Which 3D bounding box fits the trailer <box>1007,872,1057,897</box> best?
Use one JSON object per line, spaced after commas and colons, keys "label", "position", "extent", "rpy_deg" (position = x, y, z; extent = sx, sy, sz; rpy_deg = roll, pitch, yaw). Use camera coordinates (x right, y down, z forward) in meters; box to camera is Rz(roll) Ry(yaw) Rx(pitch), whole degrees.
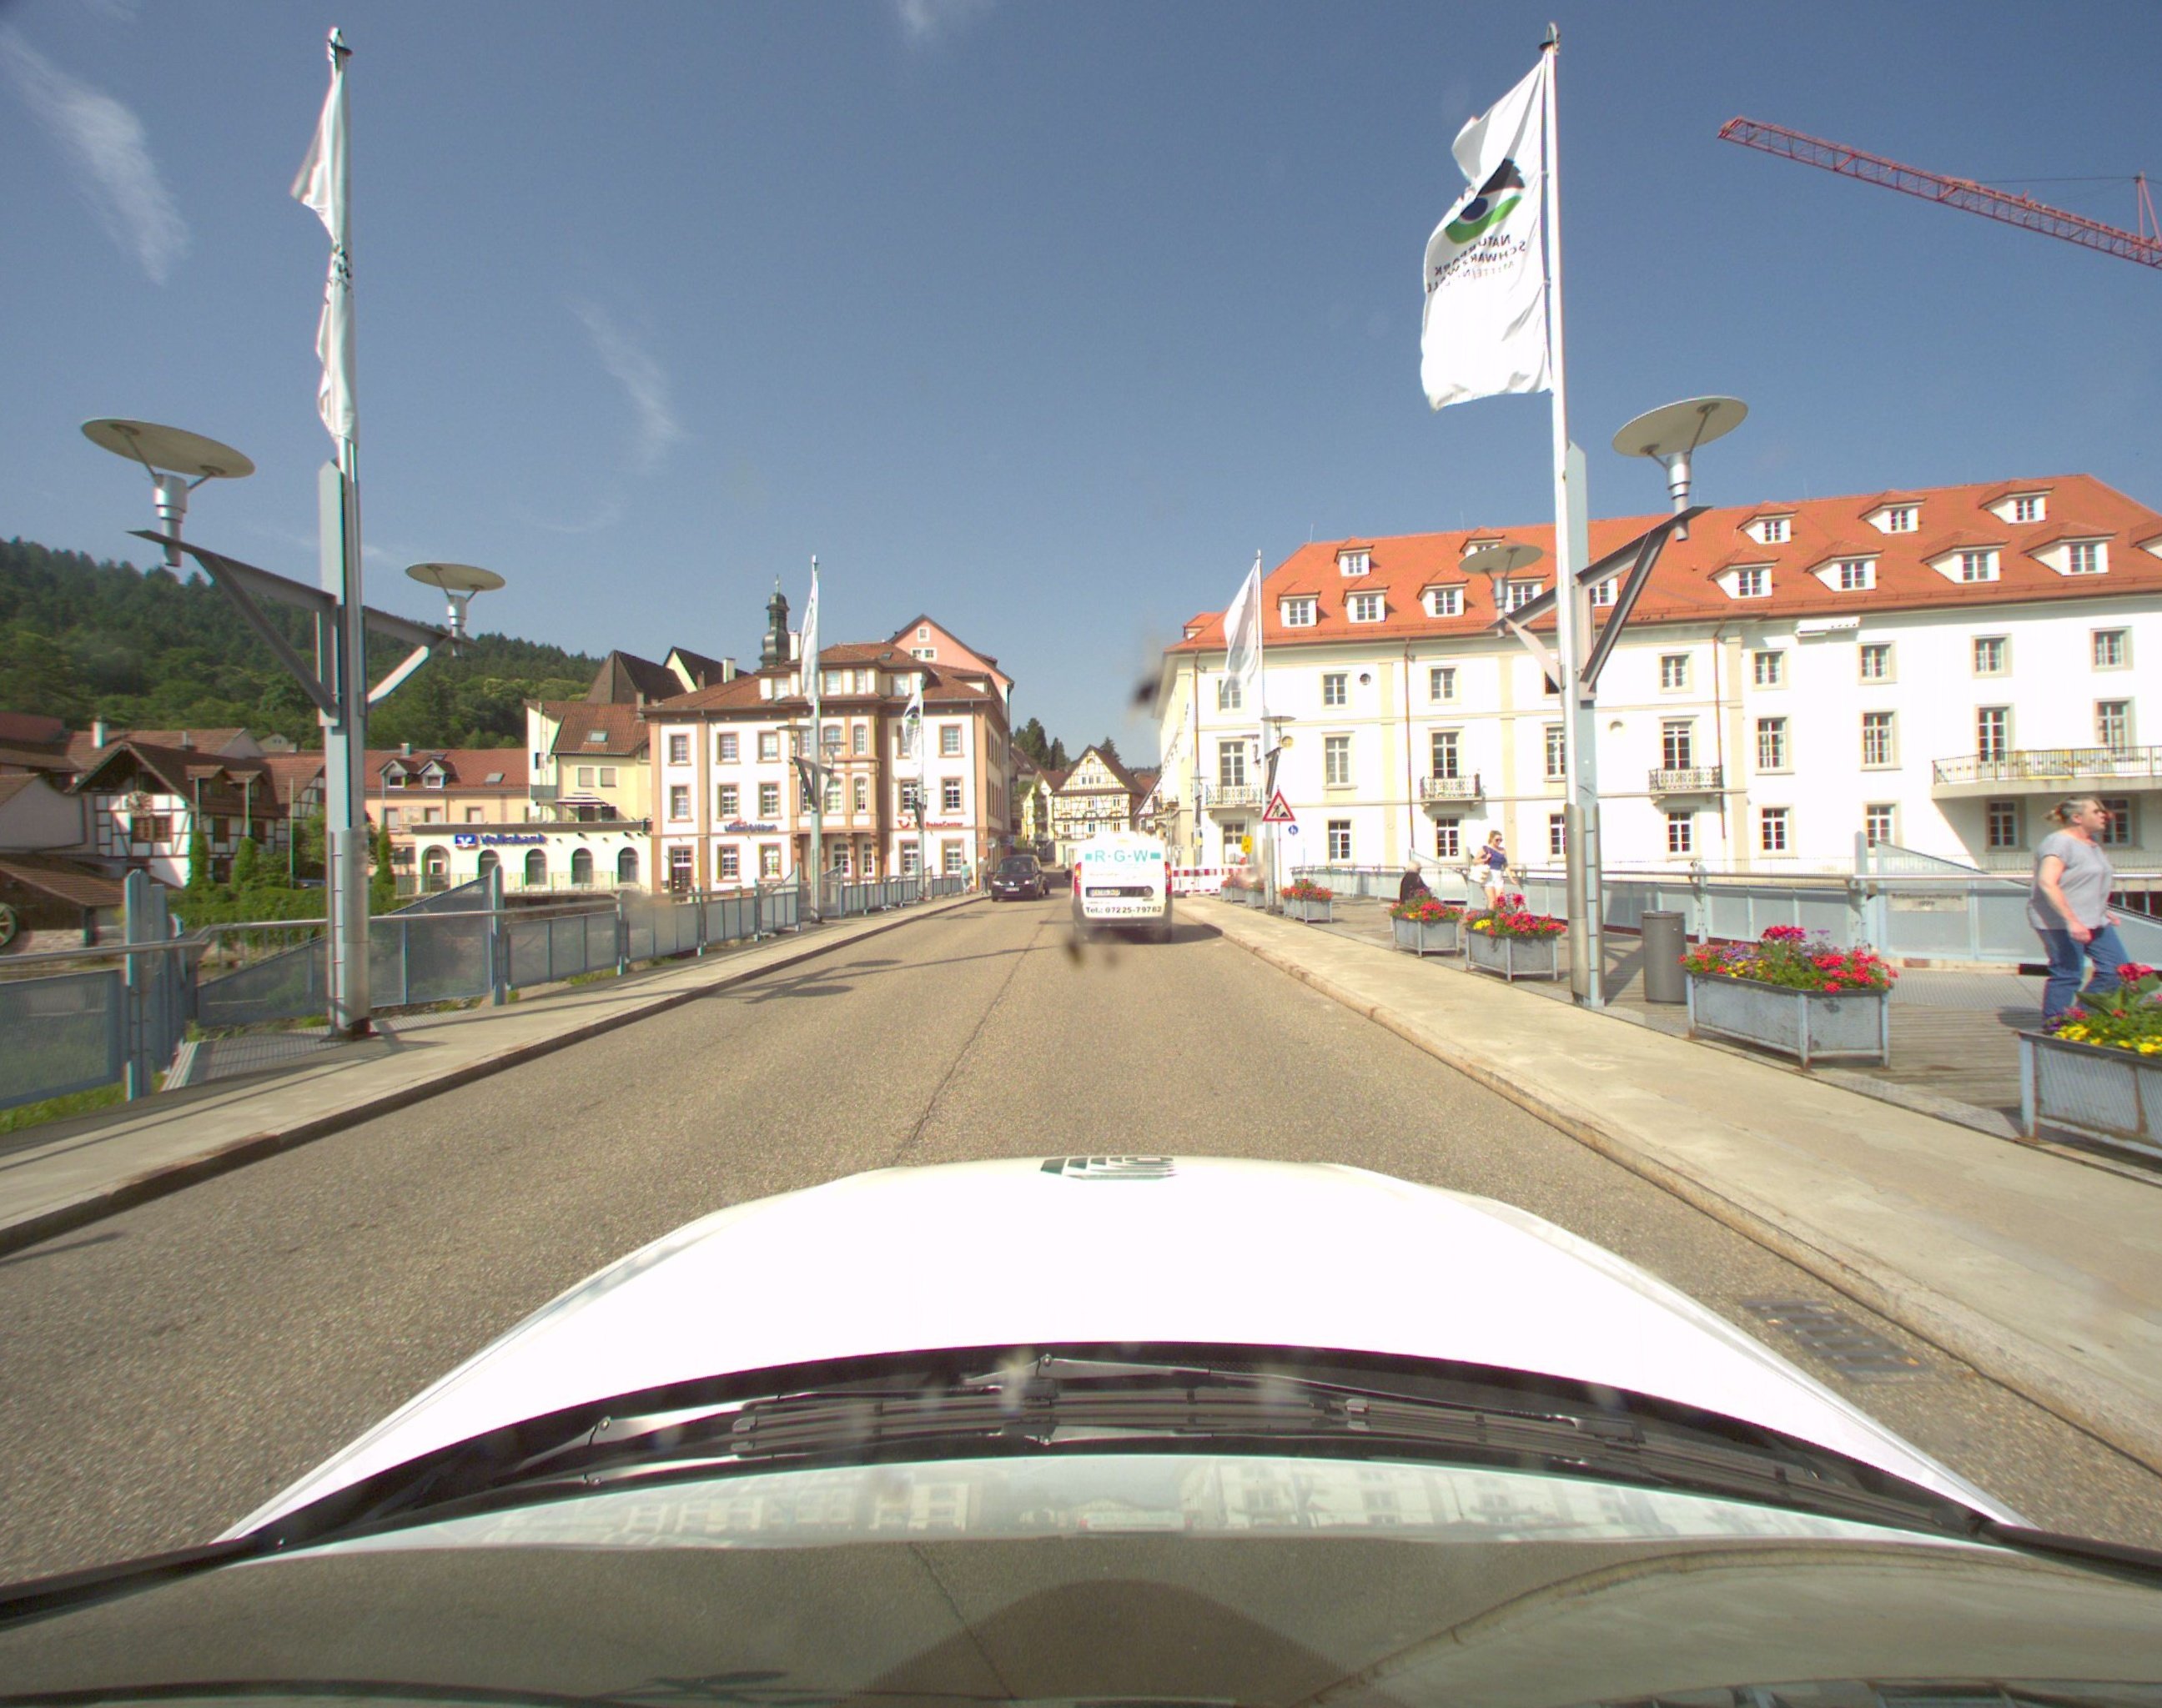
{"label": "trailer", "position": [-2.179, 1.369, 37.099], "extent": [1.743, 1.022, 4.188], "rpy_deg": [-2, -1, 3]}

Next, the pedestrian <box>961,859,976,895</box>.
{"label": "pedestrian", "position": [-5.194, 1.054, 37.554], "extent": [0.582, 1.609, 0.537], "rpy_deg": [0, 0, -1]}

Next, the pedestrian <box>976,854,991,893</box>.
{"label": "pedestrian", "position": [-4.449, 0.893, 37.206], "extent": [0.613, 1.762, 0.863], "rpy_deg": [0, 0, -1]}

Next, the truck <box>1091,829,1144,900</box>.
{"label": "truck", "position": [1.375, 0.409, 32.035], "extent": [1.855, 2.585, 4.259], "rpy_deg": [-1, -1, 0]}

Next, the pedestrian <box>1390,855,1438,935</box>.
{"label": "pedestrian", "position": [5.361, 0.656, 13.131], "extent": [0.451, 1.244, 0.625], "rpy_deg": [-2, -1, -5]}

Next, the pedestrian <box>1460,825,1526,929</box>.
{"label": "pedestrian", "position": [7.024, 0.380, 13.914], "extent": [0.724, 1.723, 0.747], "rpy_deg": [-1, 0, -3]}

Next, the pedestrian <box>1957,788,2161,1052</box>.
{"label": "pedestrian", "position": [6.339, 0.405, 5.299], "extent": [0.664, 1.618, 0.563], "rpy_deg": [-1, 0, -1]}

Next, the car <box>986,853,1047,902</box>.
{"label": "car", "position": [-2.493, 0.871, 32.646], "extent": [1.769, 1.792, 4.701], "rpy_deg": [0, 0, 4]}

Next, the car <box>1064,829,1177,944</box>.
{"label": "car", "position": [0.624, 0.567, 15.873], "extent": [1.839, 1.906, 4.311], "rpy_deg": [-1, -1, -2]}
